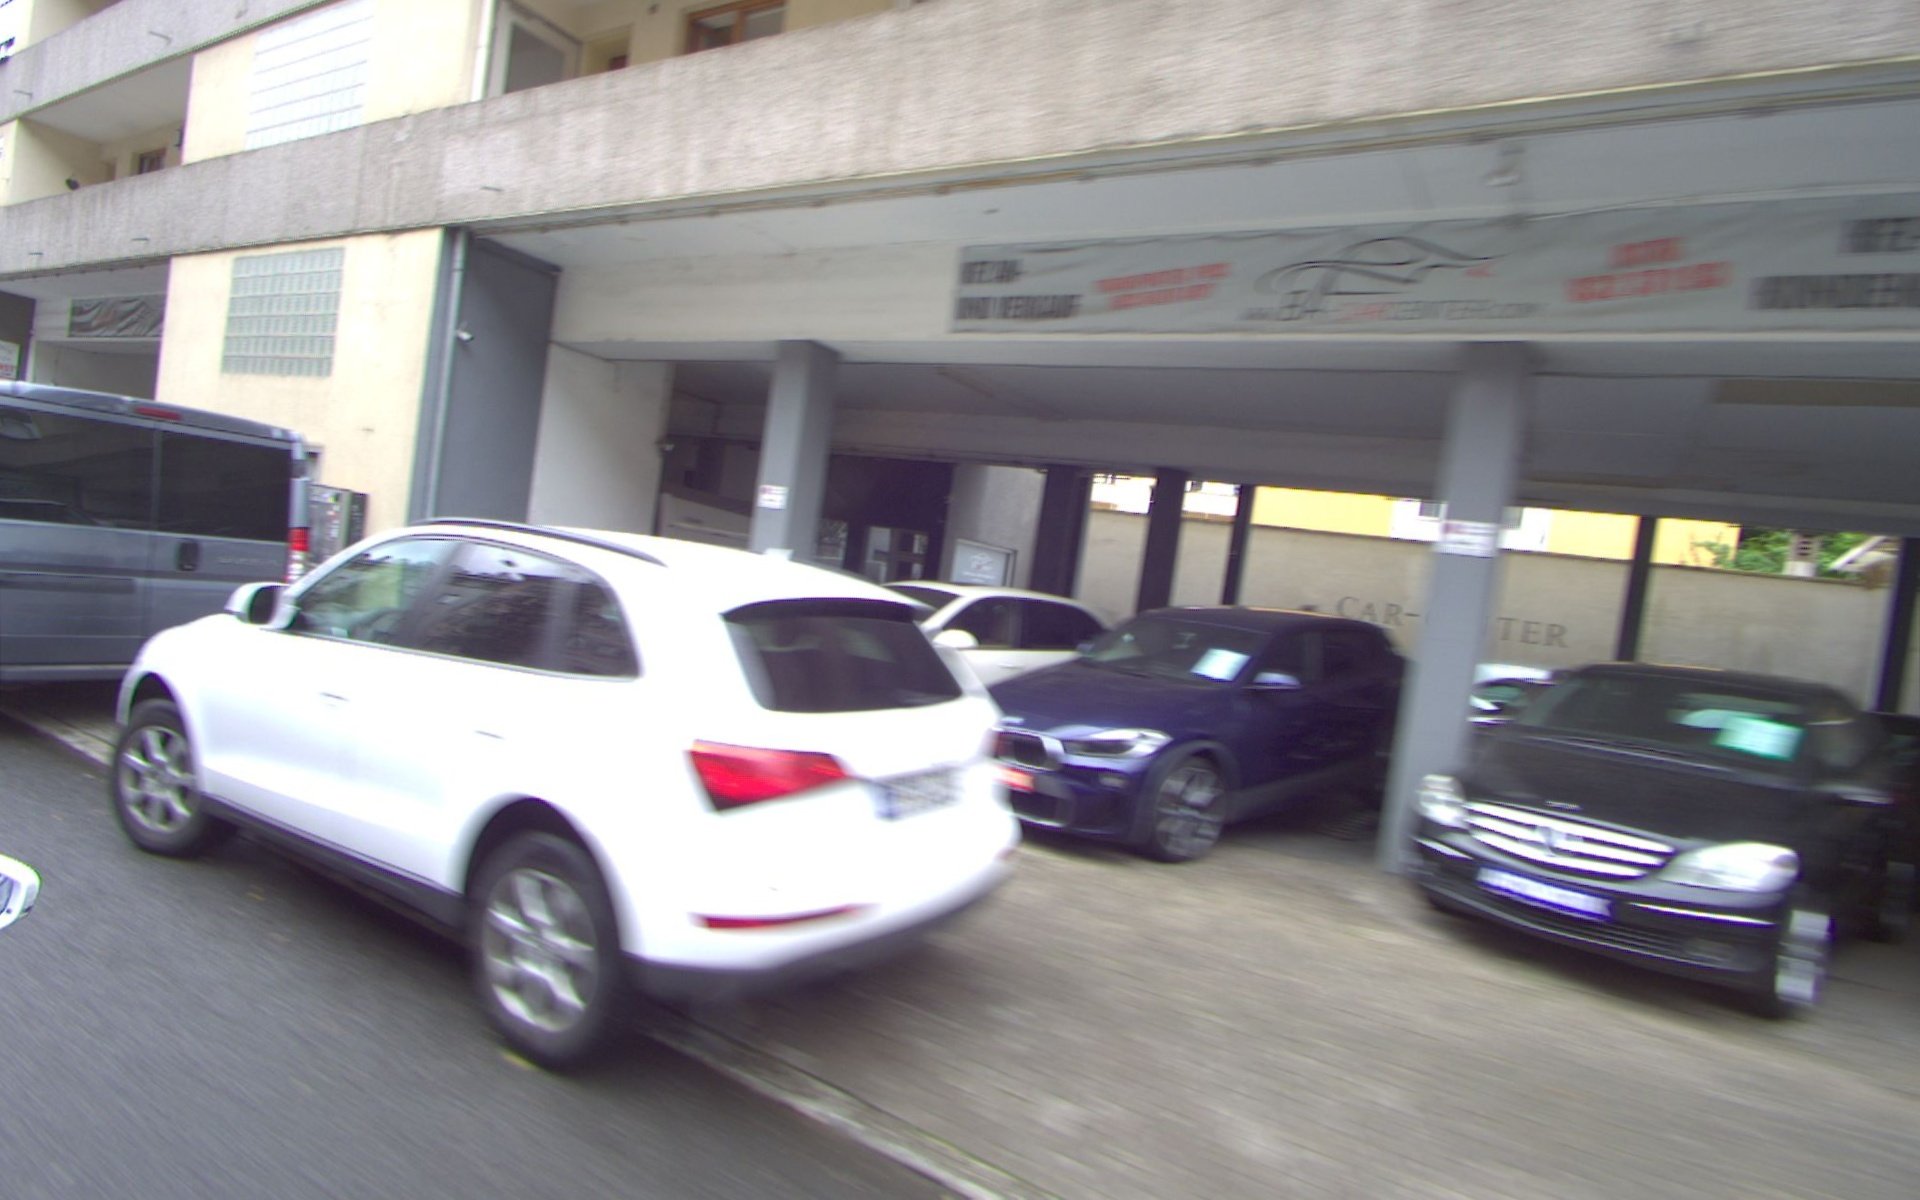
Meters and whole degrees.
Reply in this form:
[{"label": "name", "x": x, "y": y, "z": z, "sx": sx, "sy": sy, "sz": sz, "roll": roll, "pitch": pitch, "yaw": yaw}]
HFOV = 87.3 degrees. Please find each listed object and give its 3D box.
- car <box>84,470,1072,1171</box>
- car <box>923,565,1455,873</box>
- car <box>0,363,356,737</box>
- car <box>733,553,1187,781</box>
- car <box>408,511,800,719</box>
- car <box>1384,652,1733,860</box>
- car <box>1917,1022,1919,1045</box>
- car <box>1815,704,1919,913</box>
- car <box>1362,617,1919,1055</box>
[{"label": "car", "x": -1.861, "y": 0.476, "z": 4.414, "sx": 4.202, "sy": 1.661, "sz": 1.748, "roll": 7, "pitch": 1, "yaw": 32}, {"label": "car", "x": 1.885, "y": 0.807, "z": 7.678, "sx": 3.924, "sy": 1.662, "sz": 1.792, "roll": 5, "pitch": 2, "yaw": -39}, {"label": "car", "x": -7.448, "y": -0.506, "z": 8.008, "sx": 5.418, "sy": 2.176, "sz": 2.155, "roll": 7, "pitch": 1, "yaw": 32}, {"label": "car", "x": 0.120, "y": 0.637, "z": 9.646, "sx": 4.003, "sy": 1.662, "sz": 1.792, "roll": 5, "pitch": 2, "yaw": -39}, {"label": "car", "x": -3.604, "y": 0.174, "z": 11.137, "sx": 1.764, "sy": 1.676, "sz": 4.242, "roll": 7, "pitch": 1, "yaw": 17}, {"label": "car", "x": 5.924, "y": 1.446, "z": 10.479, "sx": 1.631, "sy": 1.450, "sz": 3.419, "roll": 8, "pitch": 0, "yaw": 5}, {"label": "car", "x": 6.178, "y": 1.308, "z": 4.920, "sx": 3.973, "sy": 1.735, "sz": 1.694, "roll": 8, "pitch": 0, "yaw": -42}, {"label": "car", "x": 8.495, "y": 1.728, "z": 8.369, "sx": 1.636, "sy": 1.482, "sz": 3.409, "roll": 6, "pitch": -1, "yaw": 35}, {"label": "car", "x": 4.317, "y": 1.114, "z": 6.050, "sx": 3.970, "sy": 1.604, "sz": 1.791, "roll": 5, "pitch": 2, "yaw": -42}]
